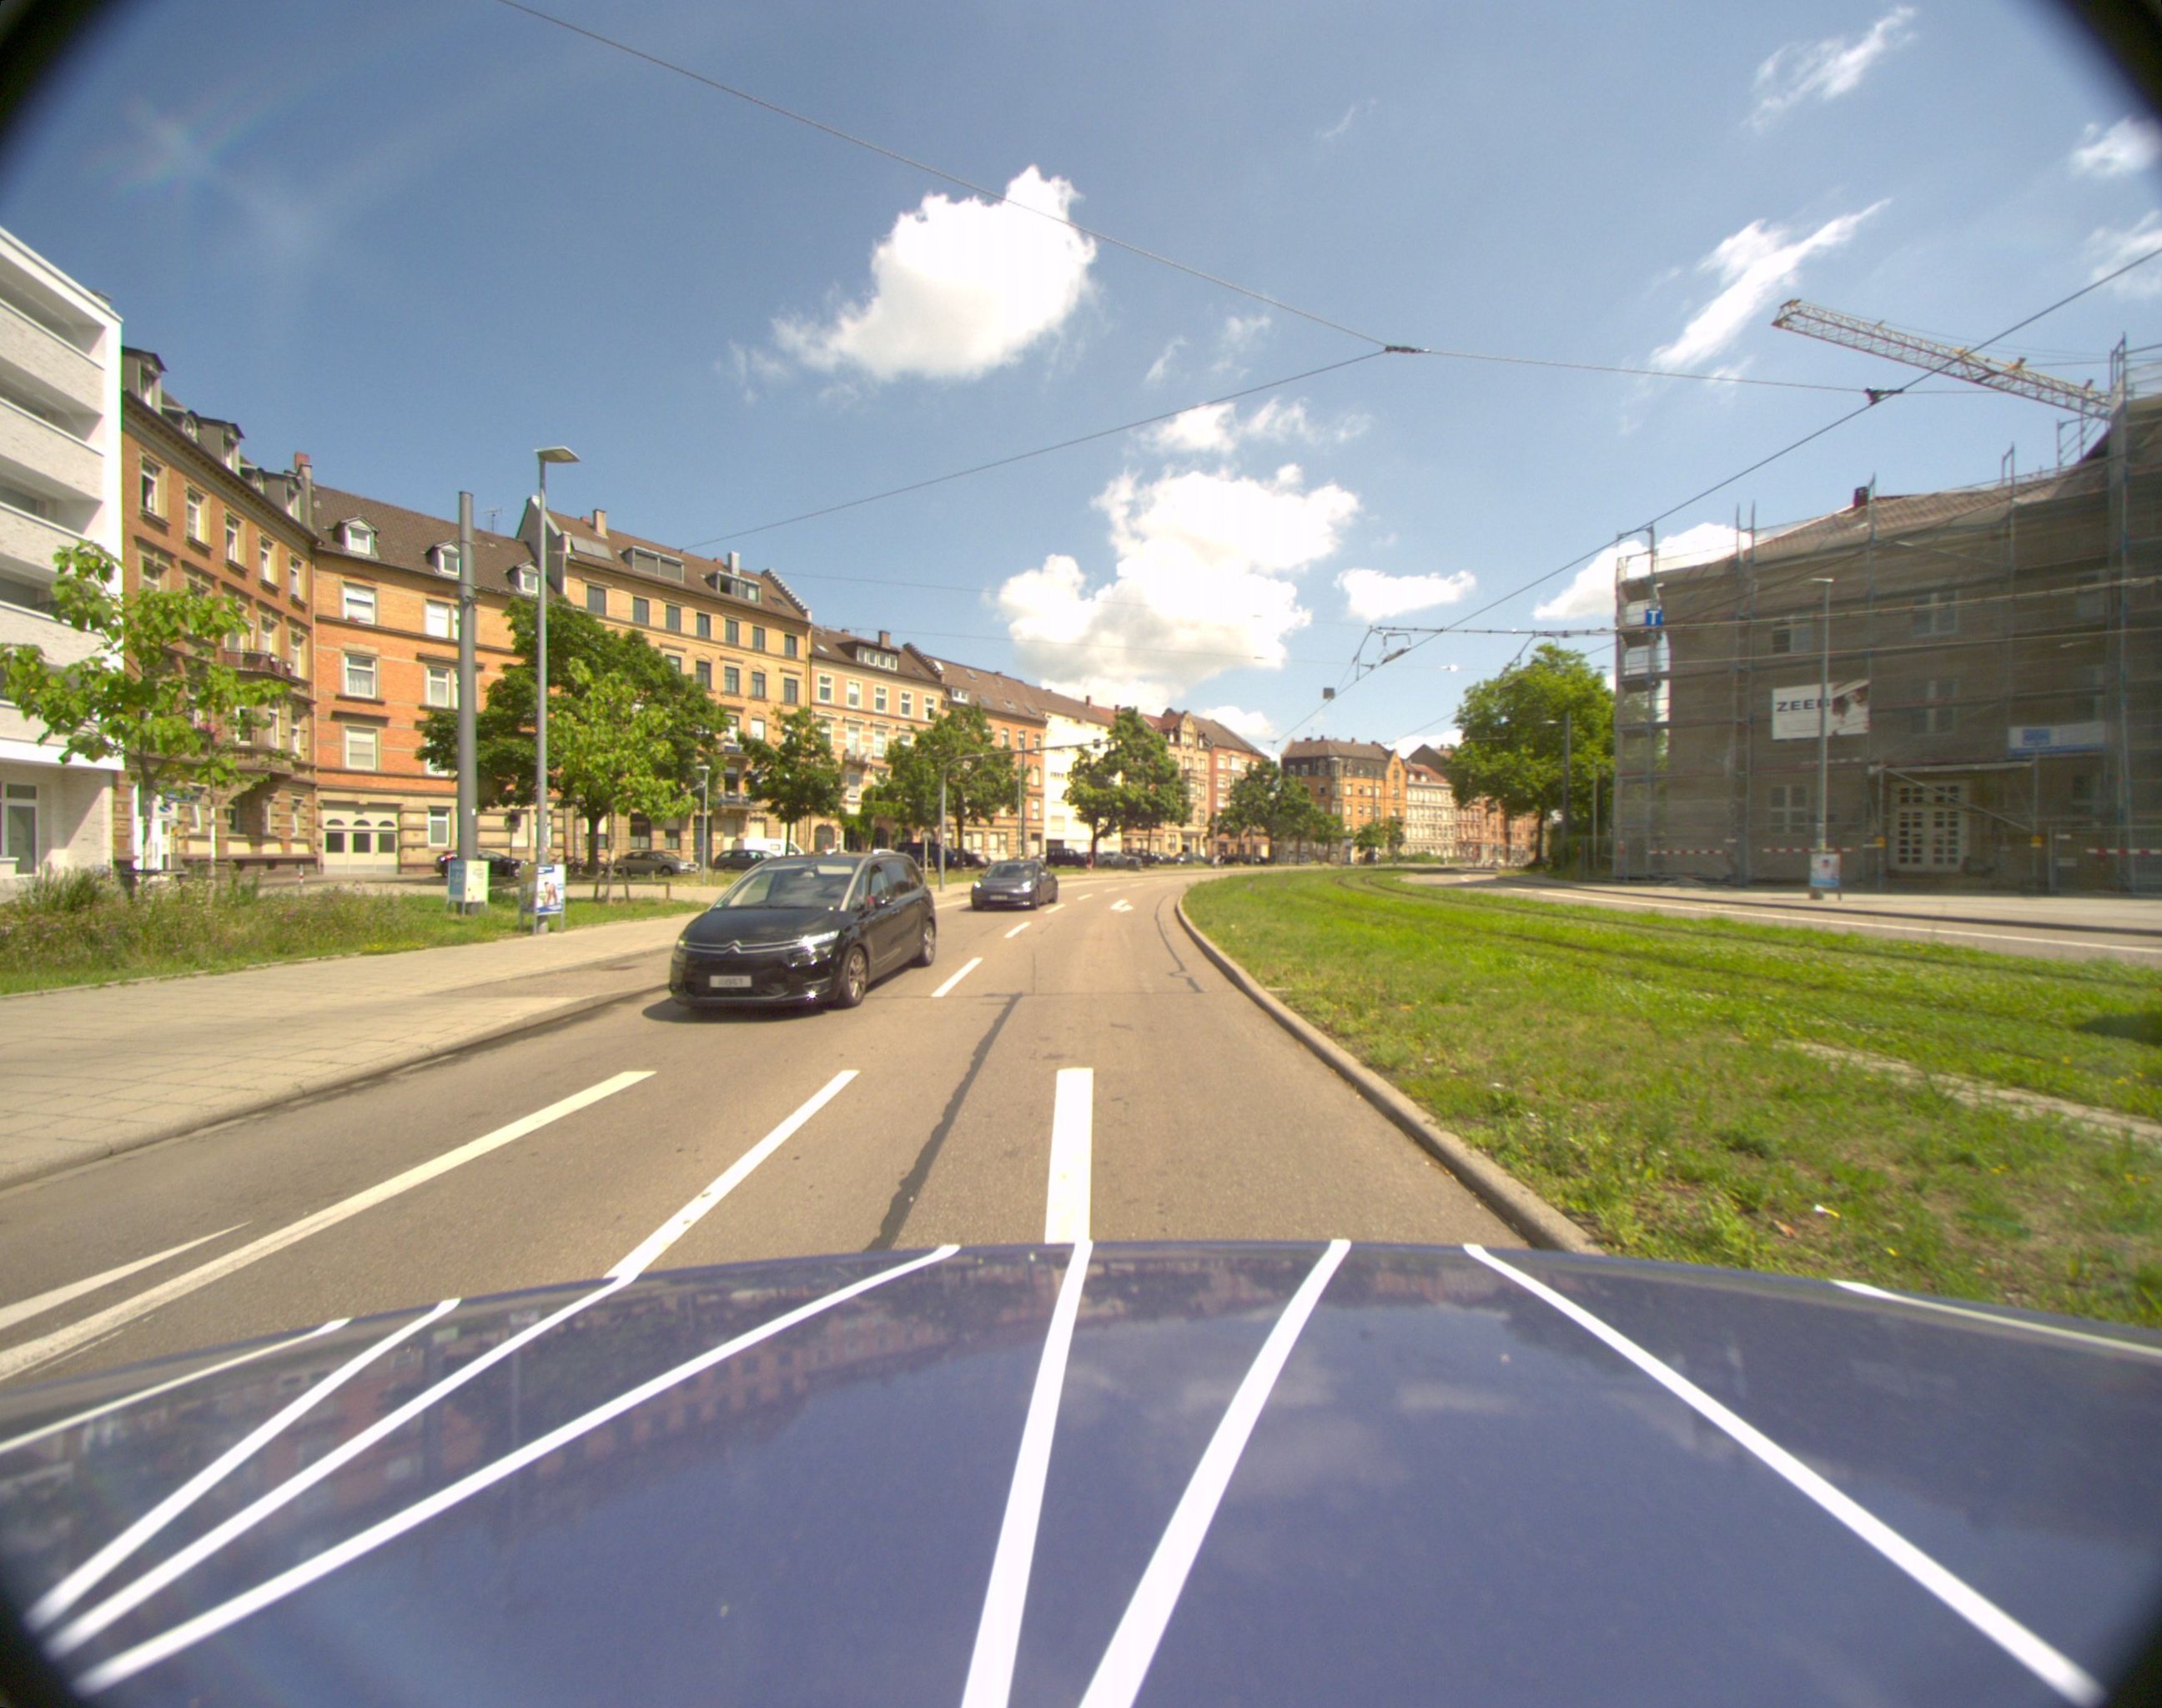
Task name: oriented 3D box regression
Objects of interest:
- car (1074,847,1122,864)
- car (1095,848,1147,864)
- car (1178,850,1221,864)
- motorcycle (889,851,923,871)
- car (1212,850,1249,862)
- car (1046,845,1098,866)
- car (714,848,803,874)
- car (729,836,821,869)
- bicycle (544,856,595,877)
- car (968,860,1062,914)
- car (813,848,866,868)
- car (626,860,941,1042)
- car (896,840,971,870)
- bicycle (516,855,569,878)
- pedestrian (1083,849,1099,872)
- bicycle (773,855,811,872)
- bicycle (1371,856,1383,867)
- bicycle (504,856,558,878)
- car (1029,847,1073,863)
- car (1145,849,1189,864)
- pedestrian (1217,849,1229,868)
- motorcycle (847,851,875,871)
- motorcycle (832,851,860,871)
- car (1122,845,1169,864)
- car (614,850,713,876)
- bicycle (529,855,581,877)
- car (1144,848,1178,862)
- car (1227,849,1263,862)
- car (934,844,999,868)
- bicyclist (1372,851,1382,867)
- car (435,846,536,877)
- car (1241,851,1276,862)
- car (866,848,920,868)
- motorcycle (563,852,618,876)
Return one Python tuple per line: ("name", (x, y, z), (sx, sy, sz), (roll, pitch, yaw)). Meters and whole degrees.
("car", (1.530, 0.146, 66.913), (4.081, 1.397, 1.853), (-1, 0, 4))
("car", (3.689, 0.186, 69.409), (4.688, 1.372, 1.853), (-1, 0, 5))
("car", (12.487, 0.290, 80.379), (4.265, 1.372, 1.853), (-1, 0, 3))
("motorcycle", (-10.619, 0.399, 46.053), (1.910, 1.160, 0.638), (0, 1, -38))
("car", (16.945, 0.219, 85.997), (3.993, 1.372, 1.963), (-1, 0, 12))
("car", (-0.729, 0.137, 64.728), (4.144, 1.731, 1.854), (-1, 0, 9))
("car", (-17.960, 0.361, 42.392), (4.252, 1.419, 1.807), (0, 1, 10))
("car", (-20.857, -0.111, 51.985), (2.111, 2.166, 5.405), (-1, 0, 40))
("bicycle", (-23.856, 0.570, 35.437), (2.387, 0.950, 0.544), (-1, 0, 16))
("car", (-1.830, 0.906, 22.663), (1.913, 1.386, 4.315), (-1, 0, 7))
("car", (-17.802, 0.272, 56.124), (1.564, 1.395, 3.358), (1, 1, 42))
("car", (-3.132, 0.917, 9.087), (1.875, 1.610, 4.190), (-1, 0, 4))
("car", (-10.081, 0.060, 52.153), (4.623, 1.916, 1.918), (-1, 0, 9))
("bicycle", (-24.225, 0.569, 34.206), (2.387, 0.963, 0.544), (-1, 0, 16))
("pedestrian", (0.714, 0.471, 52.985), (0.700, 1.583, 0.907), (1, 1, 39))
("bicycle", (-15.311, 0.499, 40.296), (0.542, 0.896, 1.825), (-1, 0, 36))
("bicycle", (36.700, 0.899, 94.267), (0.693, 1.236, 1.843), (8, 4, 43))
("bicycle", (-24.375, 0.570, 33.652), (2.387, 0.963, 0.544), (-1, 0, 16))
("car", (-2.911, 0.099, 74.535), (1.833, 1.483, 4.236), (-1, 0, 40))
("car", (8.492, 0.248, 75.374), (4.265, 1.372, 1.853), (-1, 0, 3))
("pedestrian", (13.280, 0.422, 71.170), (0.700, 1.695, 1.046), (1, 4, 38))
("motorcycle", (-12.883, 0.417, 44.427), (1.783, 1.160, 0.641), (0, 1, 38))
("motorcycle", (-13.509, 0.402, 43.644), (1.783, 1.160, 0.641), (0, 1, 38))
("car", (6.135, 0.077, 72.262), (4.361, 1.731, 1.853), (-1, 0, 3))
("car", (-20.786, 0.446, 37.856), (4.156, 1.237, 1.865), (-1, 0, 15))
("bicycle", (-24.056, 0.566, 34.768), (2.387, 0.963, 0.544), (-1, 0, 16))
("car", (9.532, 0.156, 90.367), (1.833, 1.606, 4.505), (-1, 0, 40))
("car", (19.030, 0.189, 88.329), (3.995, 1.372, 1.963), (-1, 0, 7))
("car", (-8.168, 0.164, 54.537), (4.167, 1.646, 1.918), (-1, 0, 13))
("bicyclist", (36.754, 0.613, 94.287), (0.694, 1.815, 0.958), (8, 5, 43))
("car", (-30.877, 0.372, 39.481), (1.659, 1.483, 3.861), (-1, 0, 40))
("car", (21.237, 0.293, 90.981), (3.992, 1.346, 1.964), (-1, 0, 17))
("car", (-14.775, 0.316, 59.884), (1.659, 1.483, 3.861), (-1, 0, 40))
("motorcycle", (-23.492, 0.475, 36.369), (2.387, 1.119, 0.814), (-1, 0, 16))
